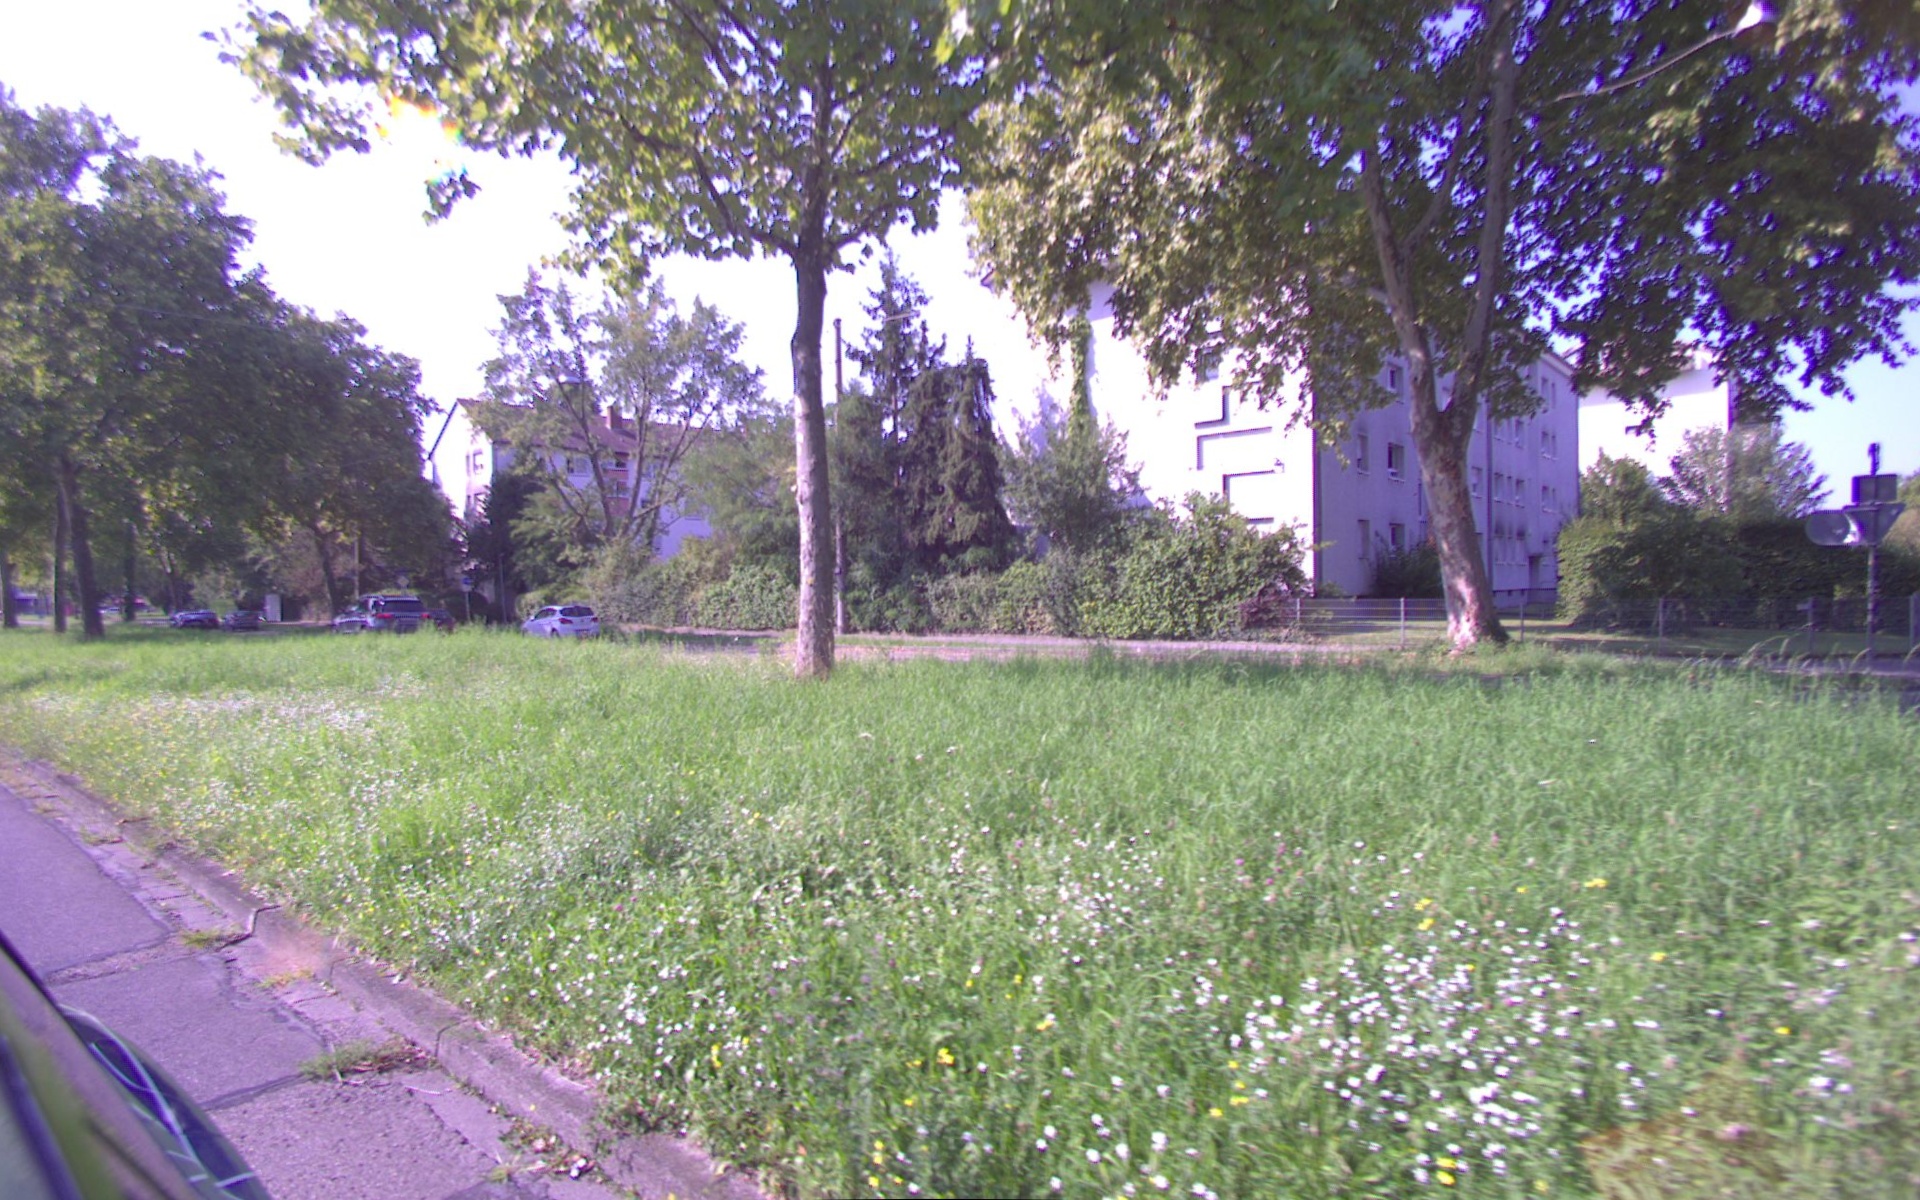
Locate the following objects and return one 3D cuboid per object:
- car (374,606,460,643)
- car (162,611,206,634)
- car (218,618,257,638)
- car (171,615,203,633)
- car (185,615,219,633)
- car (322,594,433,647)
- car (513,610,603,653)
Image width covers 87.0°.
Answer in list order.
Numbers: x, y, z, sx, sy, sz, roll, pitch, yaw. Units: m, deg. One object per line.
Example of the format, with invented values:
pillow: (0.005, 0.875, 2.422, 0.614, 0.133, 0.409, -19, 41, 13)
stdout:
car: (-21.970, 0.994, 40.926, 3.893, 1.374, 1.629, -2, 0, 38)
car: (-52.411, 1.513, 68.358, 3.897, 1.490, 1.628, -1, 1, 41)
car: (-51.511, 1.961, 72.133, 3.523, 1.301, 1.591, -1, 1, 44)
car: (-64.121, 2.006, 83.934, 3.523, 1.417, 1.591, -1, 0, 44)
car: (-59.953, 1.860, 80.000, 3.523, 1.301, 1.591, -1, 1, 44)
car: (-19.607, 0.661, 33.974, 4.854, 1.628, 1.756, -1, 1, 41)
car: (-15.474, 1.175, 38.870, 3.897, 1.490, 1.628, -1, 1, 41)
